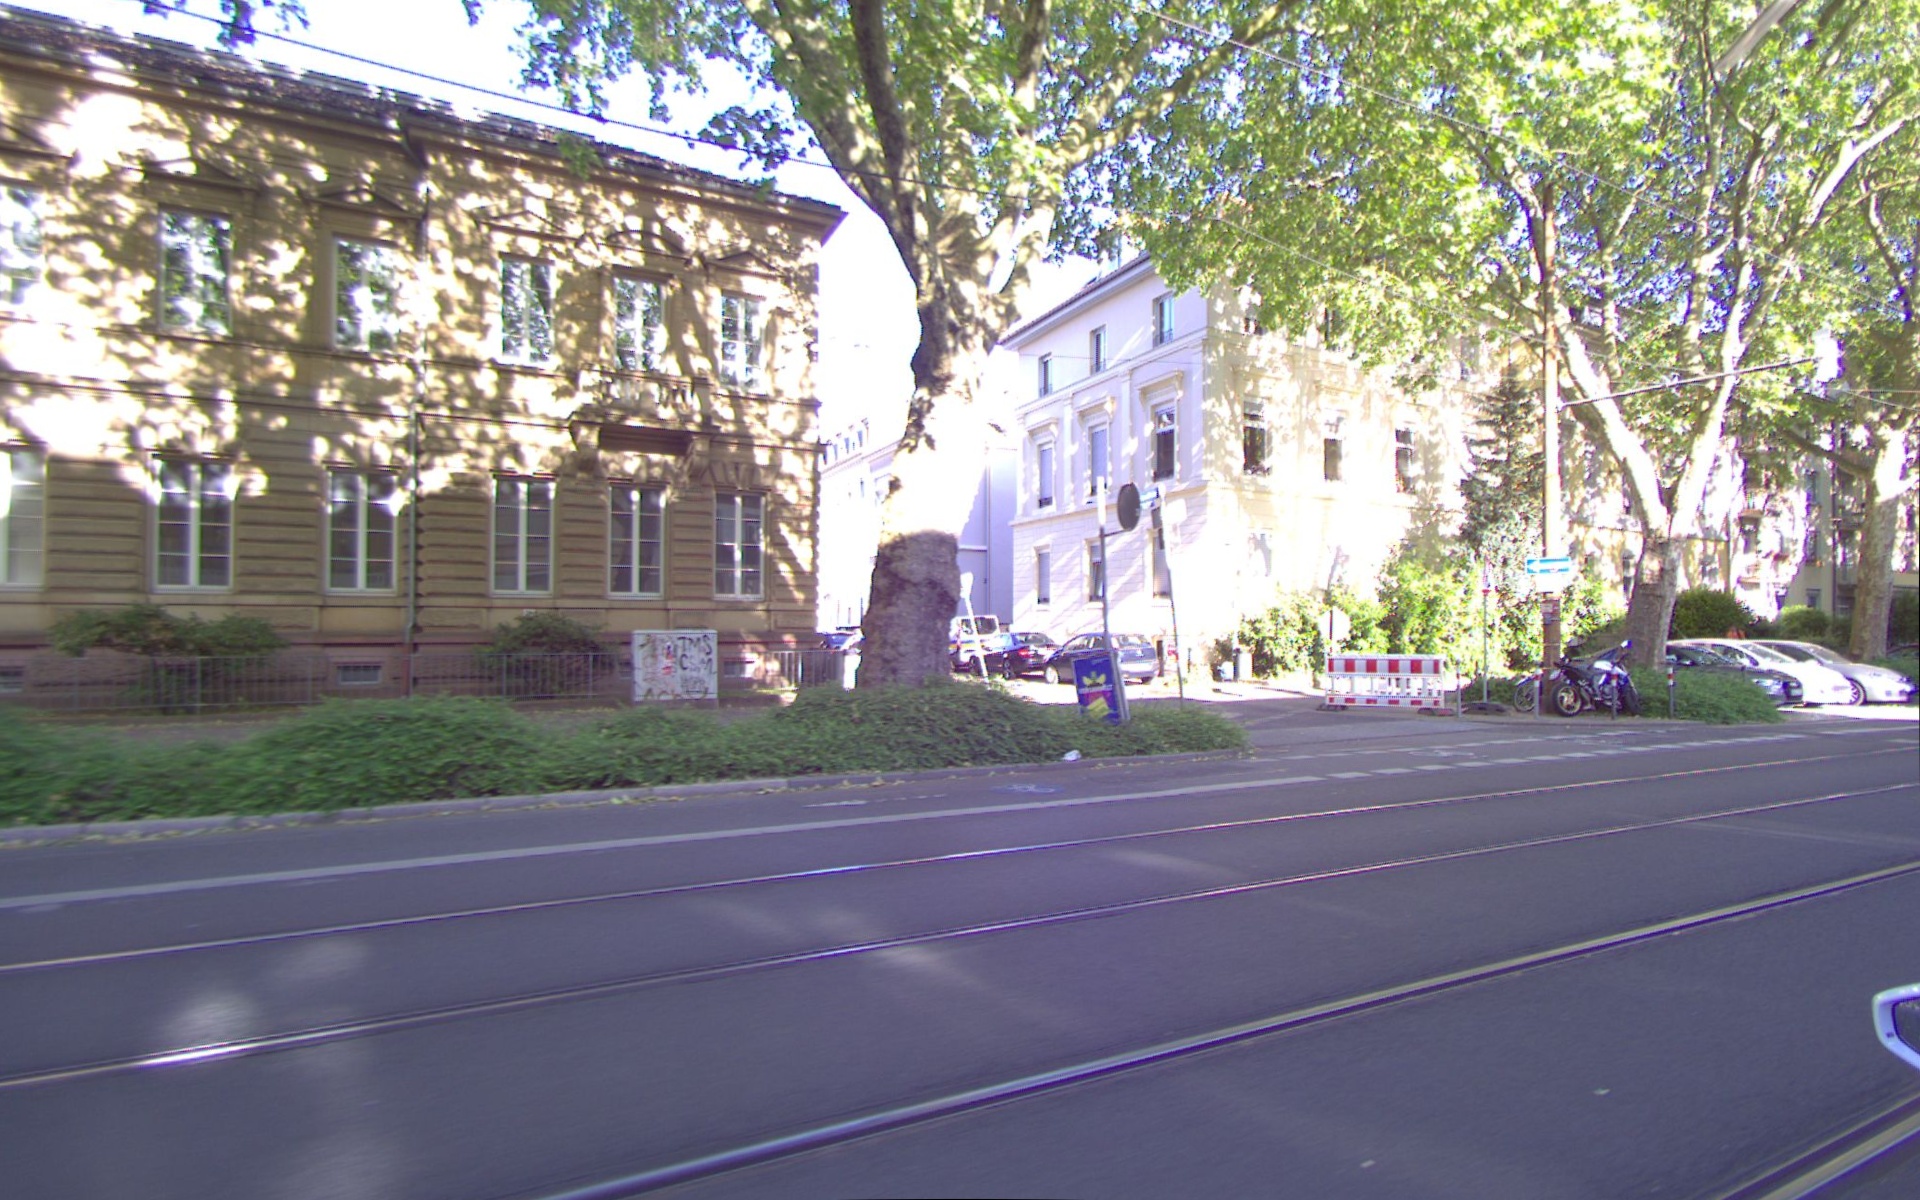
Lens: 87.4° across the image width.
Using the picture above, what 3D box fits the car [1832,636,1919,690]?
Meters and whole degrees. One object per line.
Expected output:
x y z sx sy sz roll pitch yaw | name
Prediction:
28.109 1.846 29.136 1.727 1.461 3.903 2 0 -29 | car

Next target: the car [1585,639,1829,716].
16.274 1.626 22.085 1.825 1.350 3.903 2 0 -28 | car

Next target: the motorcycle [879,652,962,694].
-0.984 1.812 24.934 1.924 0.990 0.719 2 0 -17 | motorcycle

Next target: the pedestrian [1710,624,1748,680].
26.509 1.770 34.629 0.830 1.874 0.859 1 -1 -37 | pedestrian

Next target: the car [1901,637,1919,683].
32.194 1.958 31.257 1.797 1.440 3.900 2 0 -30 | car

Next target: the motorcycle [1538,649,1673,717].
11.764 1.484 18.314 2.355 1.162 0.883 1 -1 -22 | motorcycle

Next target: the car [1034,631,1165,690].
3.790 1.634 27.888 1.673 1.437 3.761 -2 -1 -28 | car

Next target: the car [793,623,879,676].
-4.100 1.556 32.665 1.820 1.510 3.913 2 0 -21 | car

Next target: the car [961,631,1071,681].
1.714 1.730 31.935 1.673 1.437 3.904 -1 -1 -28 | car

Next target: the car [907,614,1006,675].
-0.192 1.605 37.236 1.987 2.029 4.395 -2 -1 -24 | car

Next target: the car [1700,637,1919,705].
20.877 1.679 24.741 1.783 1.481 3.904 1 -2 -28 | car

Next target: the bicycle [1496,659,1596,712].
11.253 1.631 19.280 2.004 0.953 0.540 1 -1 -22 | bicycle

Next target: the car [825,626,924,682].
-2.506 1.493 28.616 1.820 1.350 3.914 2 0 -21 | car

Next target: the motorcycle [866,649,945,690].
-1.419 1.808 26.154 1.924 0.990 0.719 2 0 -17 | motorcycle

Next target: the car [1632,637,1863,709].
18.292 1.639 23.523 1.778 1.472 3.904 2 -2 -29 | car

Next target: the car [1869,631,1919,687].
30.142 1.830 30.061 1.857 1.648 3.977 2 0 -29 | car
